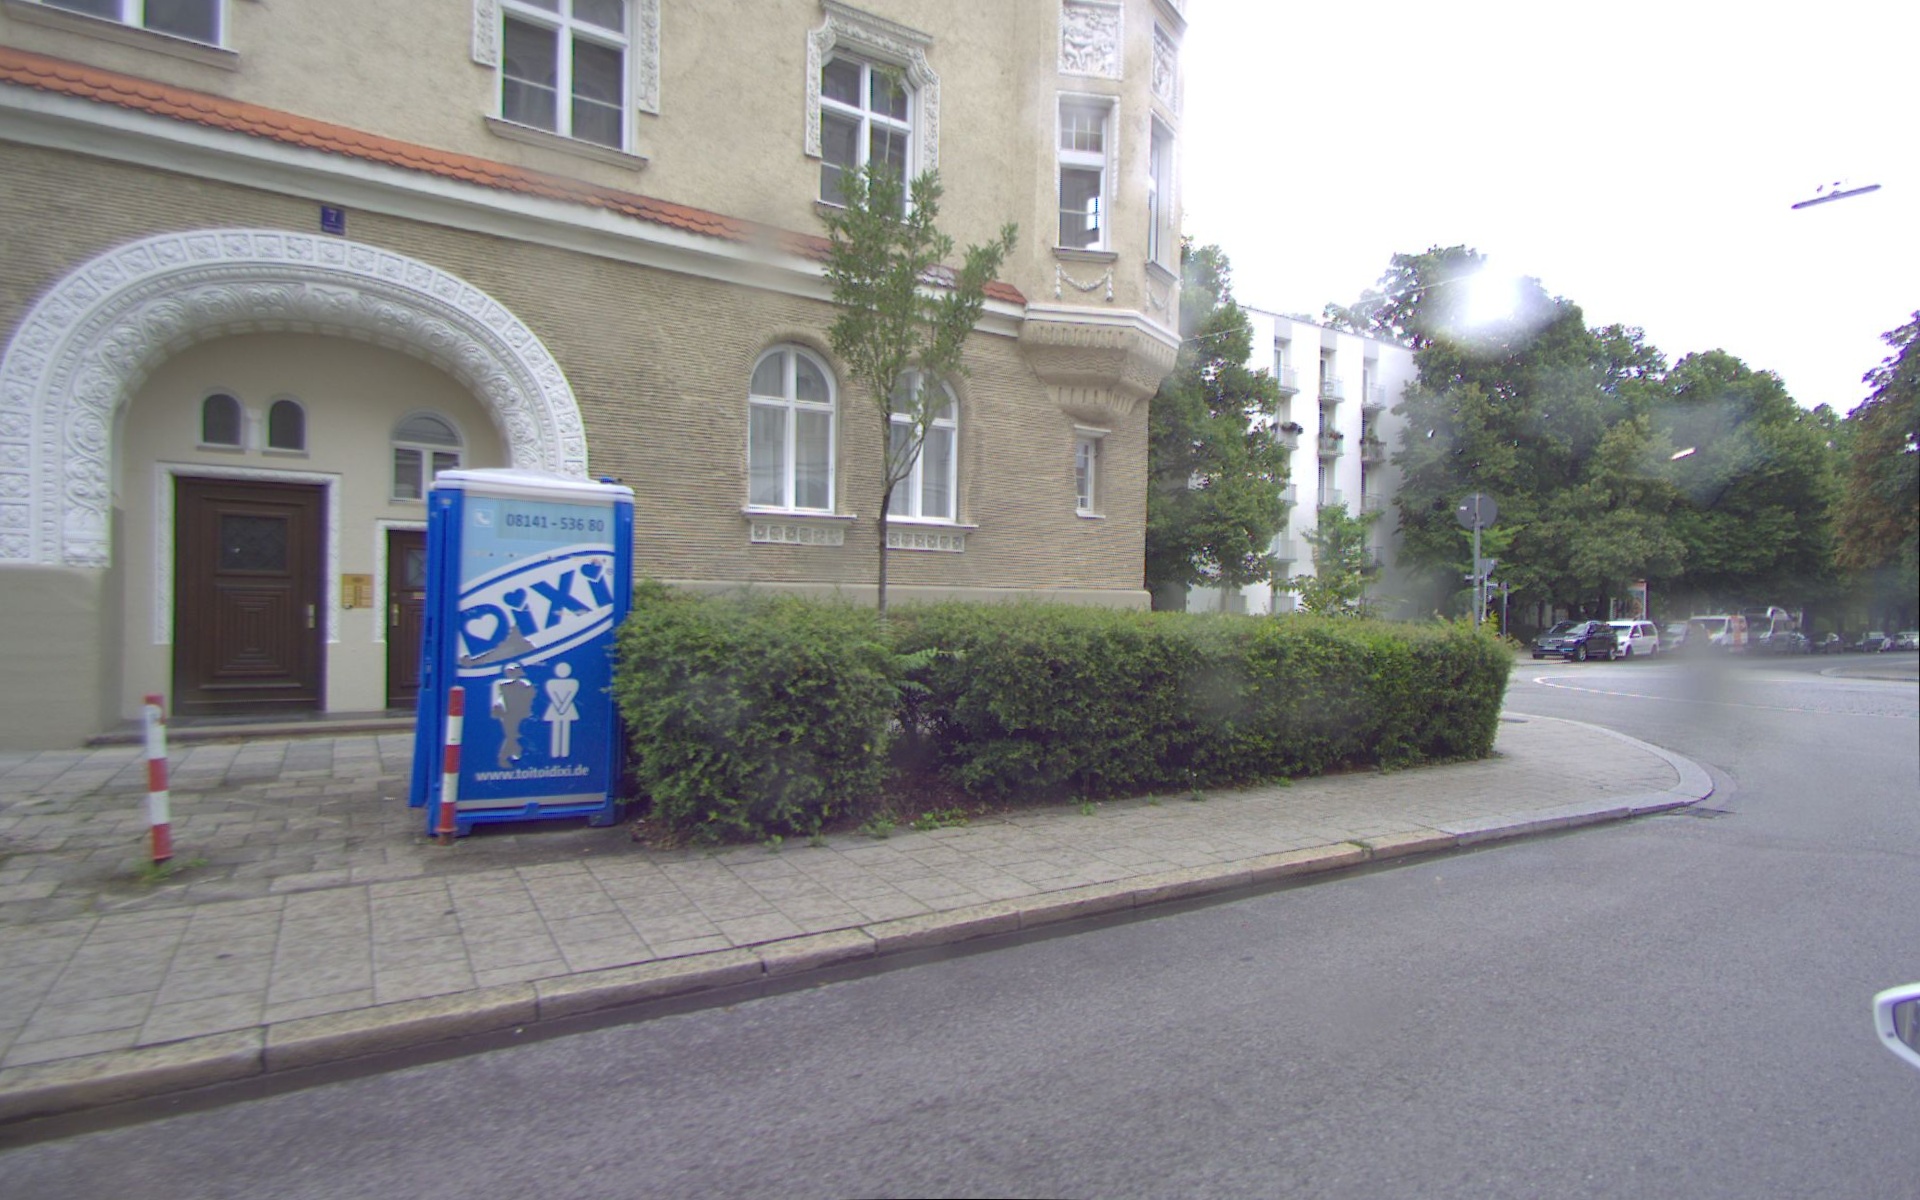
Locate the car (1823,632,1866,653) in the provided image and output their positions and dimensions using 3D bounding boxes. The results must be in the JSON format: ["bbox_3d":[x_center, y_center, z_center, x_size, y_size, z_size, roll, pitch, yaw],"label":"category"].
[{"bbox_3d":[67.579,3.197,76.742,4.098,1.506,1.976,2,-1,-41],"label":"car"}]

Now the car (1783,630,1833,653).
[{"bbox_3d":[57.432,2.808,68.010,4.098,1.439,1.976,2,-1,-41],"label":"car"}]

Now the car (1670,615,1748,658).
[{"bbox_3d":[41.546,2.032,55.646,5.553,2.294,2.068,2,-3,-38],"label":"car"}]

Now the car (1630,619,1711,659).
[{"bbox_3d":[36.172,1.962,51.066,5.620,1.933,2.009,2,-2,-40],"label":"car"}]

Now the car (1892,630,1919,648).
[{"bbox_3d":[85.242,3.495,90.081,4.098,1.506,1.976,2,-1,-41],"label":"car"}]

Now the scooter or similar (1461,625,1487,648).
[{"bbox_3d":[27.949,1.989,54.586,1.644,1.207,0.695,2,-1,-40],"label":"scooter or similar"}]

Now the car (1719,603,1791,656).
[{"bbox_3d":[48.457,1.793,61.177,6.180,3.042,2.155,2,-1,-39],"label":"car"}]

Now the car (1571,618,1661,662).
[{"bbox_3d":[30.708,1.842,46.983,4.814,1.929,2.068,2,-1,-37],"label":"car"}]

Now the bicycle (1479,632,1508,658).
[{"bbox_3d":[23.708,1.972,44.619,0.743,1.099,1.775,0,-1,41],"label":"bicycle"}]

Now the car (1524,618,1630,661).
[{"bbox_3d":[26.818,1.686,43.609,5.254,1.742,2.069,2,-1,-36],"label":"car"}]
